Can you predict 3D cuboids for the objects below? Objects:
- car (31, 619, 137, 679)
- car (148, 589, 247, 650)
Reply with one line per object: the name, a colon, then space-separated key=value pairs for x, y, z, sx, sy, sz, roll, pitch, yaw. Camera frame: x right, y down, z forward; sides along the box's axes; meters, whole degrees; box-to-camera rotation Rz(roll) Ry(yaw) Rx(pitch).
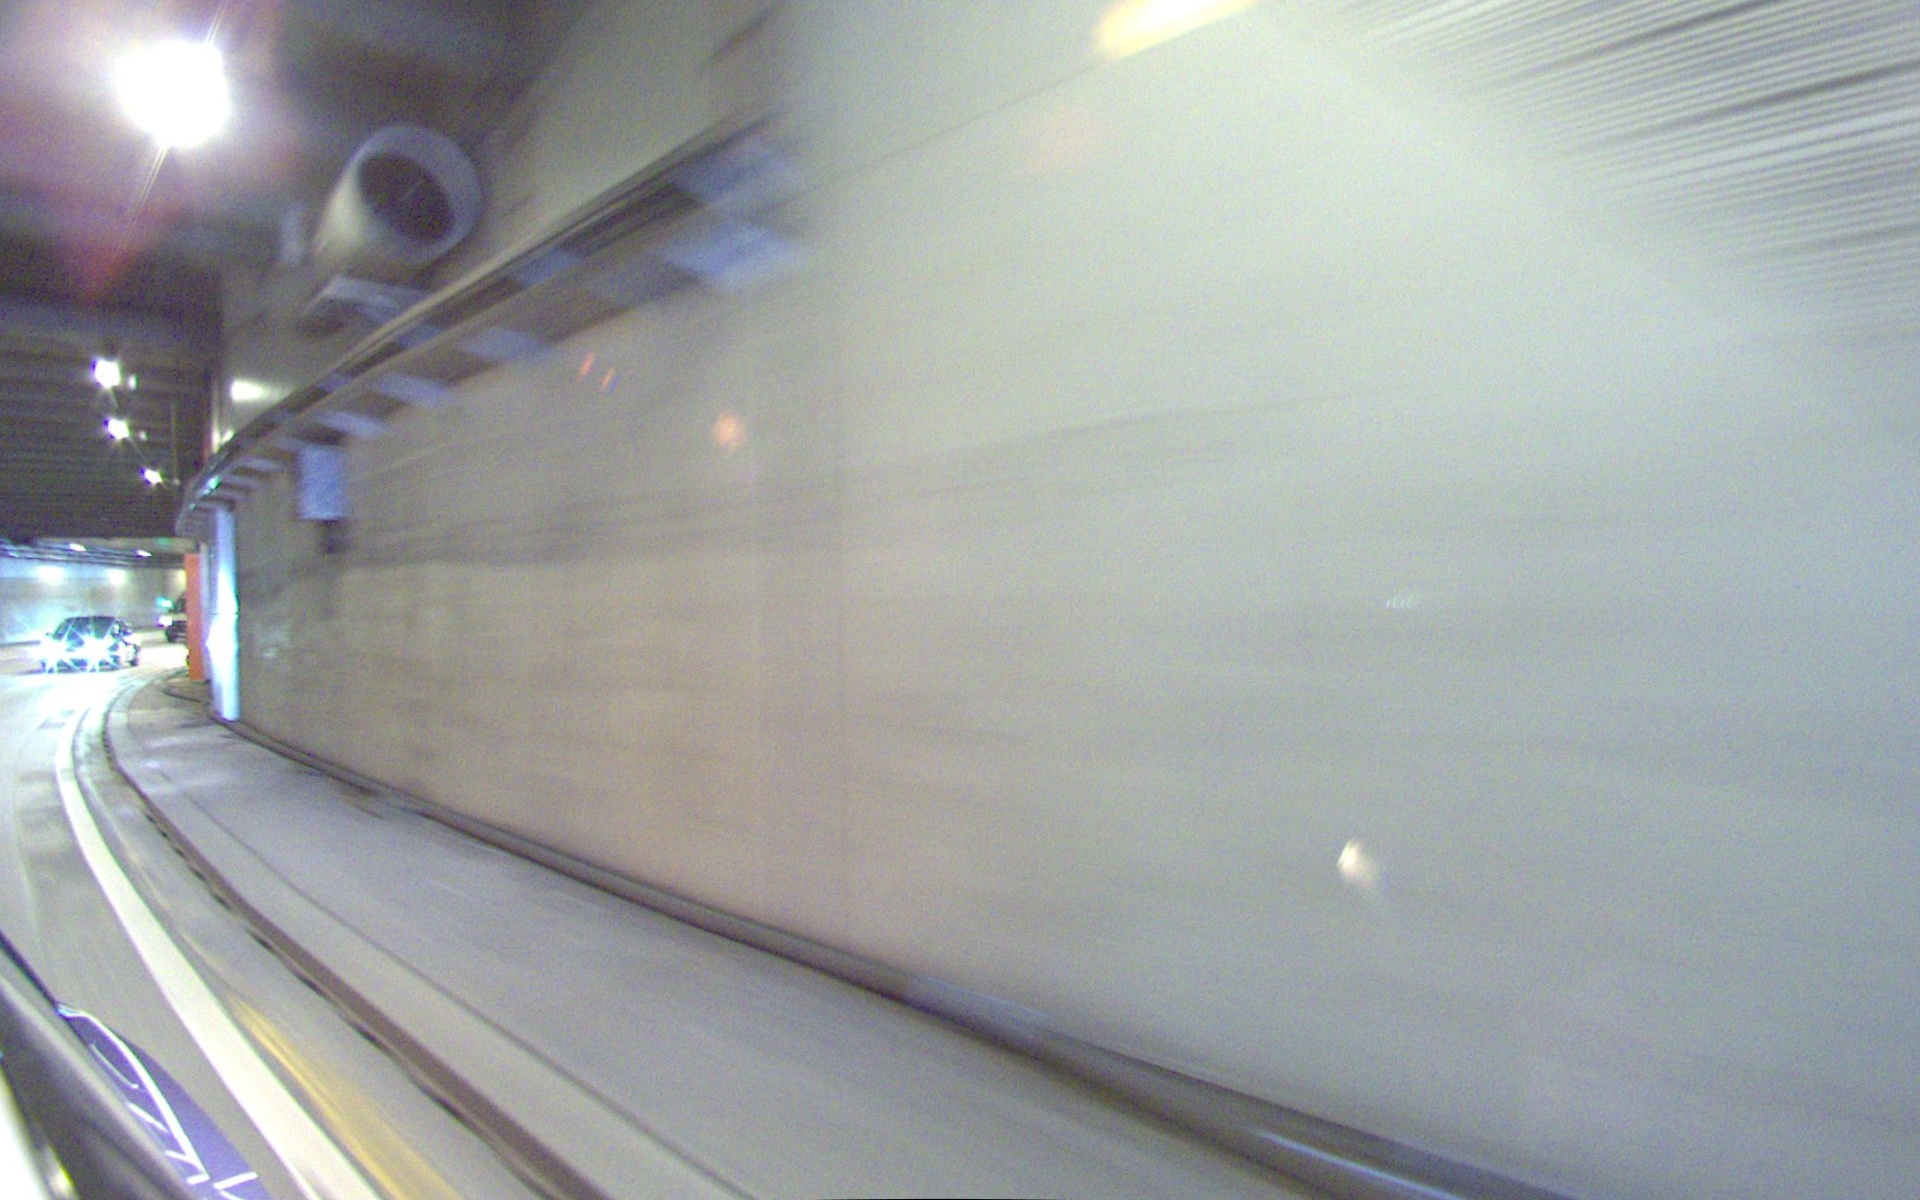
car: x=-24.367 y=1.300 z=28.279 sx=1.694 sy=1.475 sz=4.011 roll=-1 pitch=0 yaw=-33
car: x=-38.295 y=0.944 z=51.102 sx=2.517 sy=2.789 sz=7.375 roll=-1 pitch=0 yaw=-25
